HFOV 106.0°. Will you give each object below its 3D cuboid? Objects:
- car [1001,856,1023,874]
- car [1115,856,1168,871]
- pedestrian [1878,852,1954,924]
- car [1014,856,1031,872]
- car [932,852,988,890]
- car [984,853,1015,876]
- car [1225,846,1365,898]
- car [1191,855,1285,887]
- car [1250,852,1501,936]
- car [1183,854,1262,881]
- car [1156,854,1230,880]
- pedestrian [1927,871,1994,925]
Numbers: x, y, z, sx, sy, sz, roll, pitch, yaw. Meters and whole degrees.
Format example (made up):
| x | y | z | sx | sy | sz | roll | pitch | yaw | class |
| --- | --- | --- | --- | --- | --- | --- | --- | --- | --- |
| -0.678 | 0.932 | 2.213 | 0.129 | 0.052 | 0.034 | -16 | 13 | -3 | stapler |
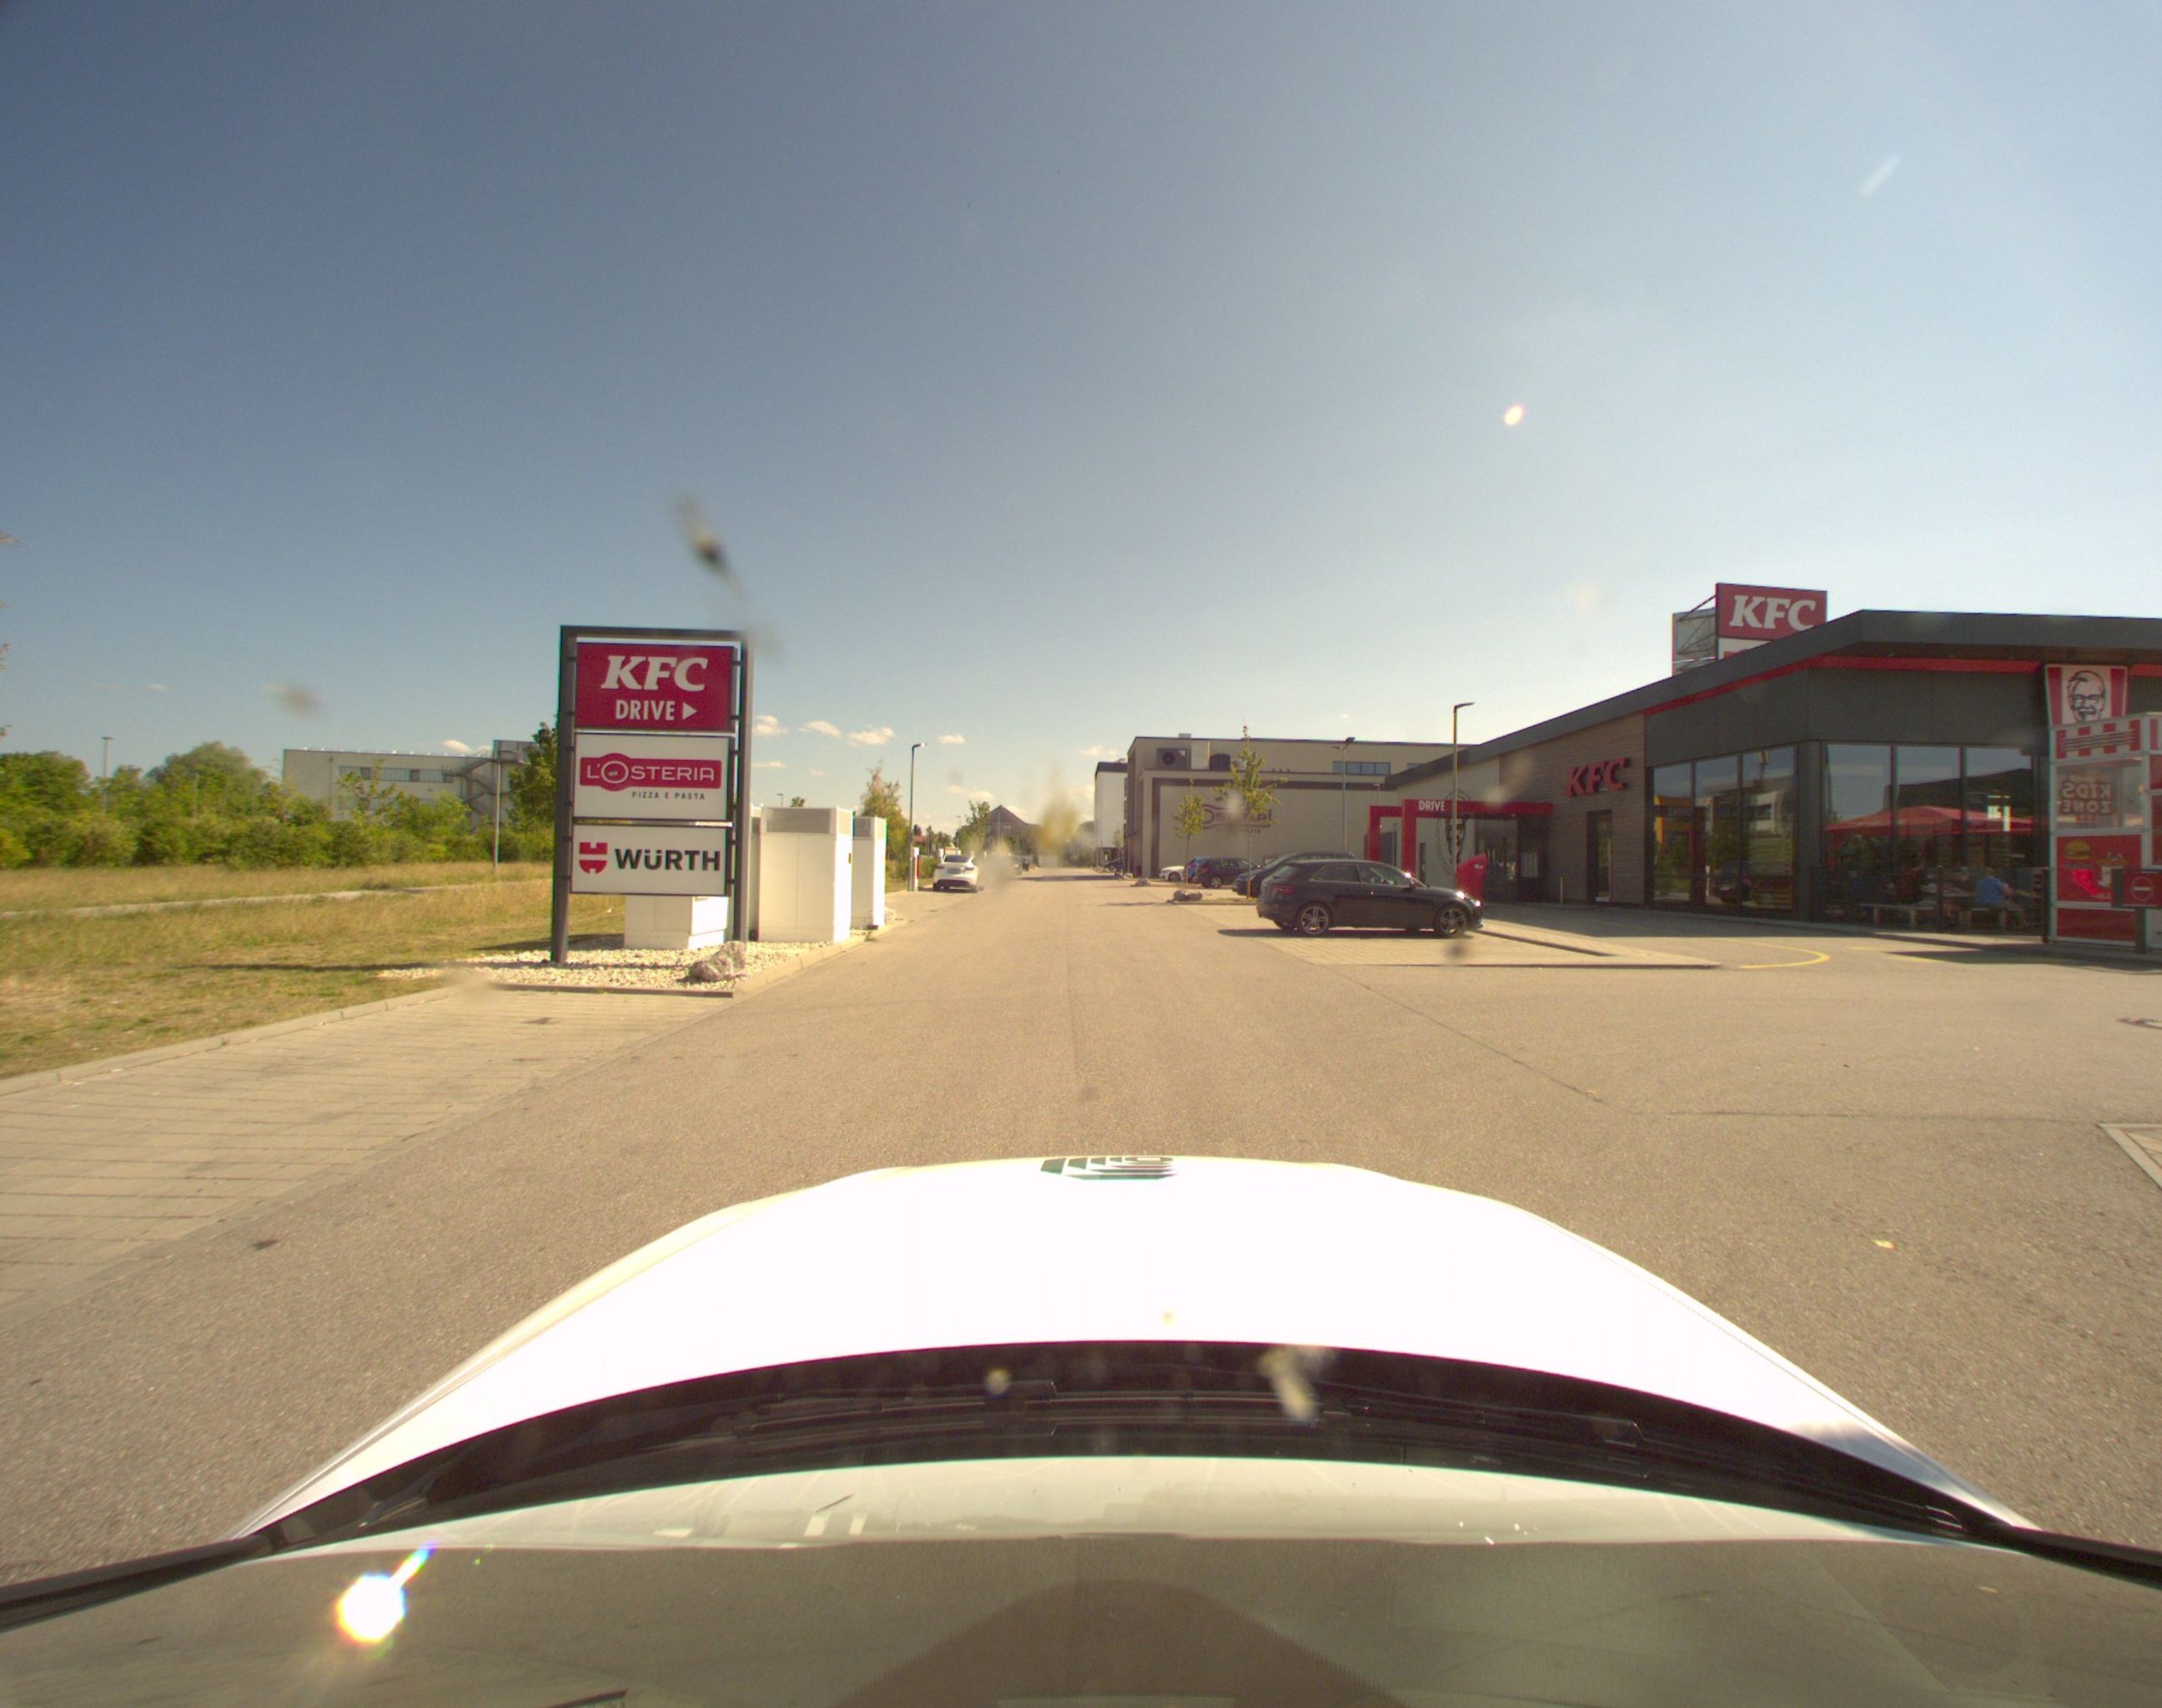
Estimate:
| x | y | z | sx | sy | sz | roll | pitch | yaw | class |
| --- | --- | --- | --- | --- | --- | --- | --- | --- | --- |
| -5.884 | 0.919 | 69.648 | 1.739 | 1.387 | 3.996 | 1 | 0 | -3 | car |
| 4.695 | 0.746 | 63.805 | 3.978 | 1.156 | 1.998 | 0 | 0 | -3 | car |
| 17.217 | 0.686 | 16.799 | 0.796 | 1.435 | 0.771 | 0 | 0 | -4 | pedestrian |
| -6.215 | 1.044 | 86.714 | 1.739 | 1.568 | 3.996 | 1 | 0 | -3 | car |
| -5.355 | 0.727 | 36.425 | 1.939 | 1.568 | 3.998 | 1 | 0 | -1 | car |
| -5.713 | 0.712 | 57.662 | 1.940 | 1.568 | 3.996 | 1 | 0 | -2 | car |
| 7.278 | 0.602 | 27.865 | 4.365 | 1.685 | 1.638 | 1 | 0 | -7 | car |
| 7.229 | 0.772 | 37.766 | 3.980 | 1.420 | 1.648 | 1 | 0 | -5 | car |
| 5.519 | 0.727 | 15.569 | 4.190 | 1.441 | 1.697 | 1 | 0 | -3 | car |
| 7.709 | 0.729 | 44.670 | 3.980 | 1.420 | 1.648 | 1 | 0 | -5 | car |
| 6.480 | 0.747 | 47.382 | 3.980 | 1.420 | 1.648 | 1 | 0 | -5 | car |
| 18.037 | 0.899 | 16.707 | 0.714 | 1.071 | 0.628 | 0 | 0 | -5 | pedestrian |
